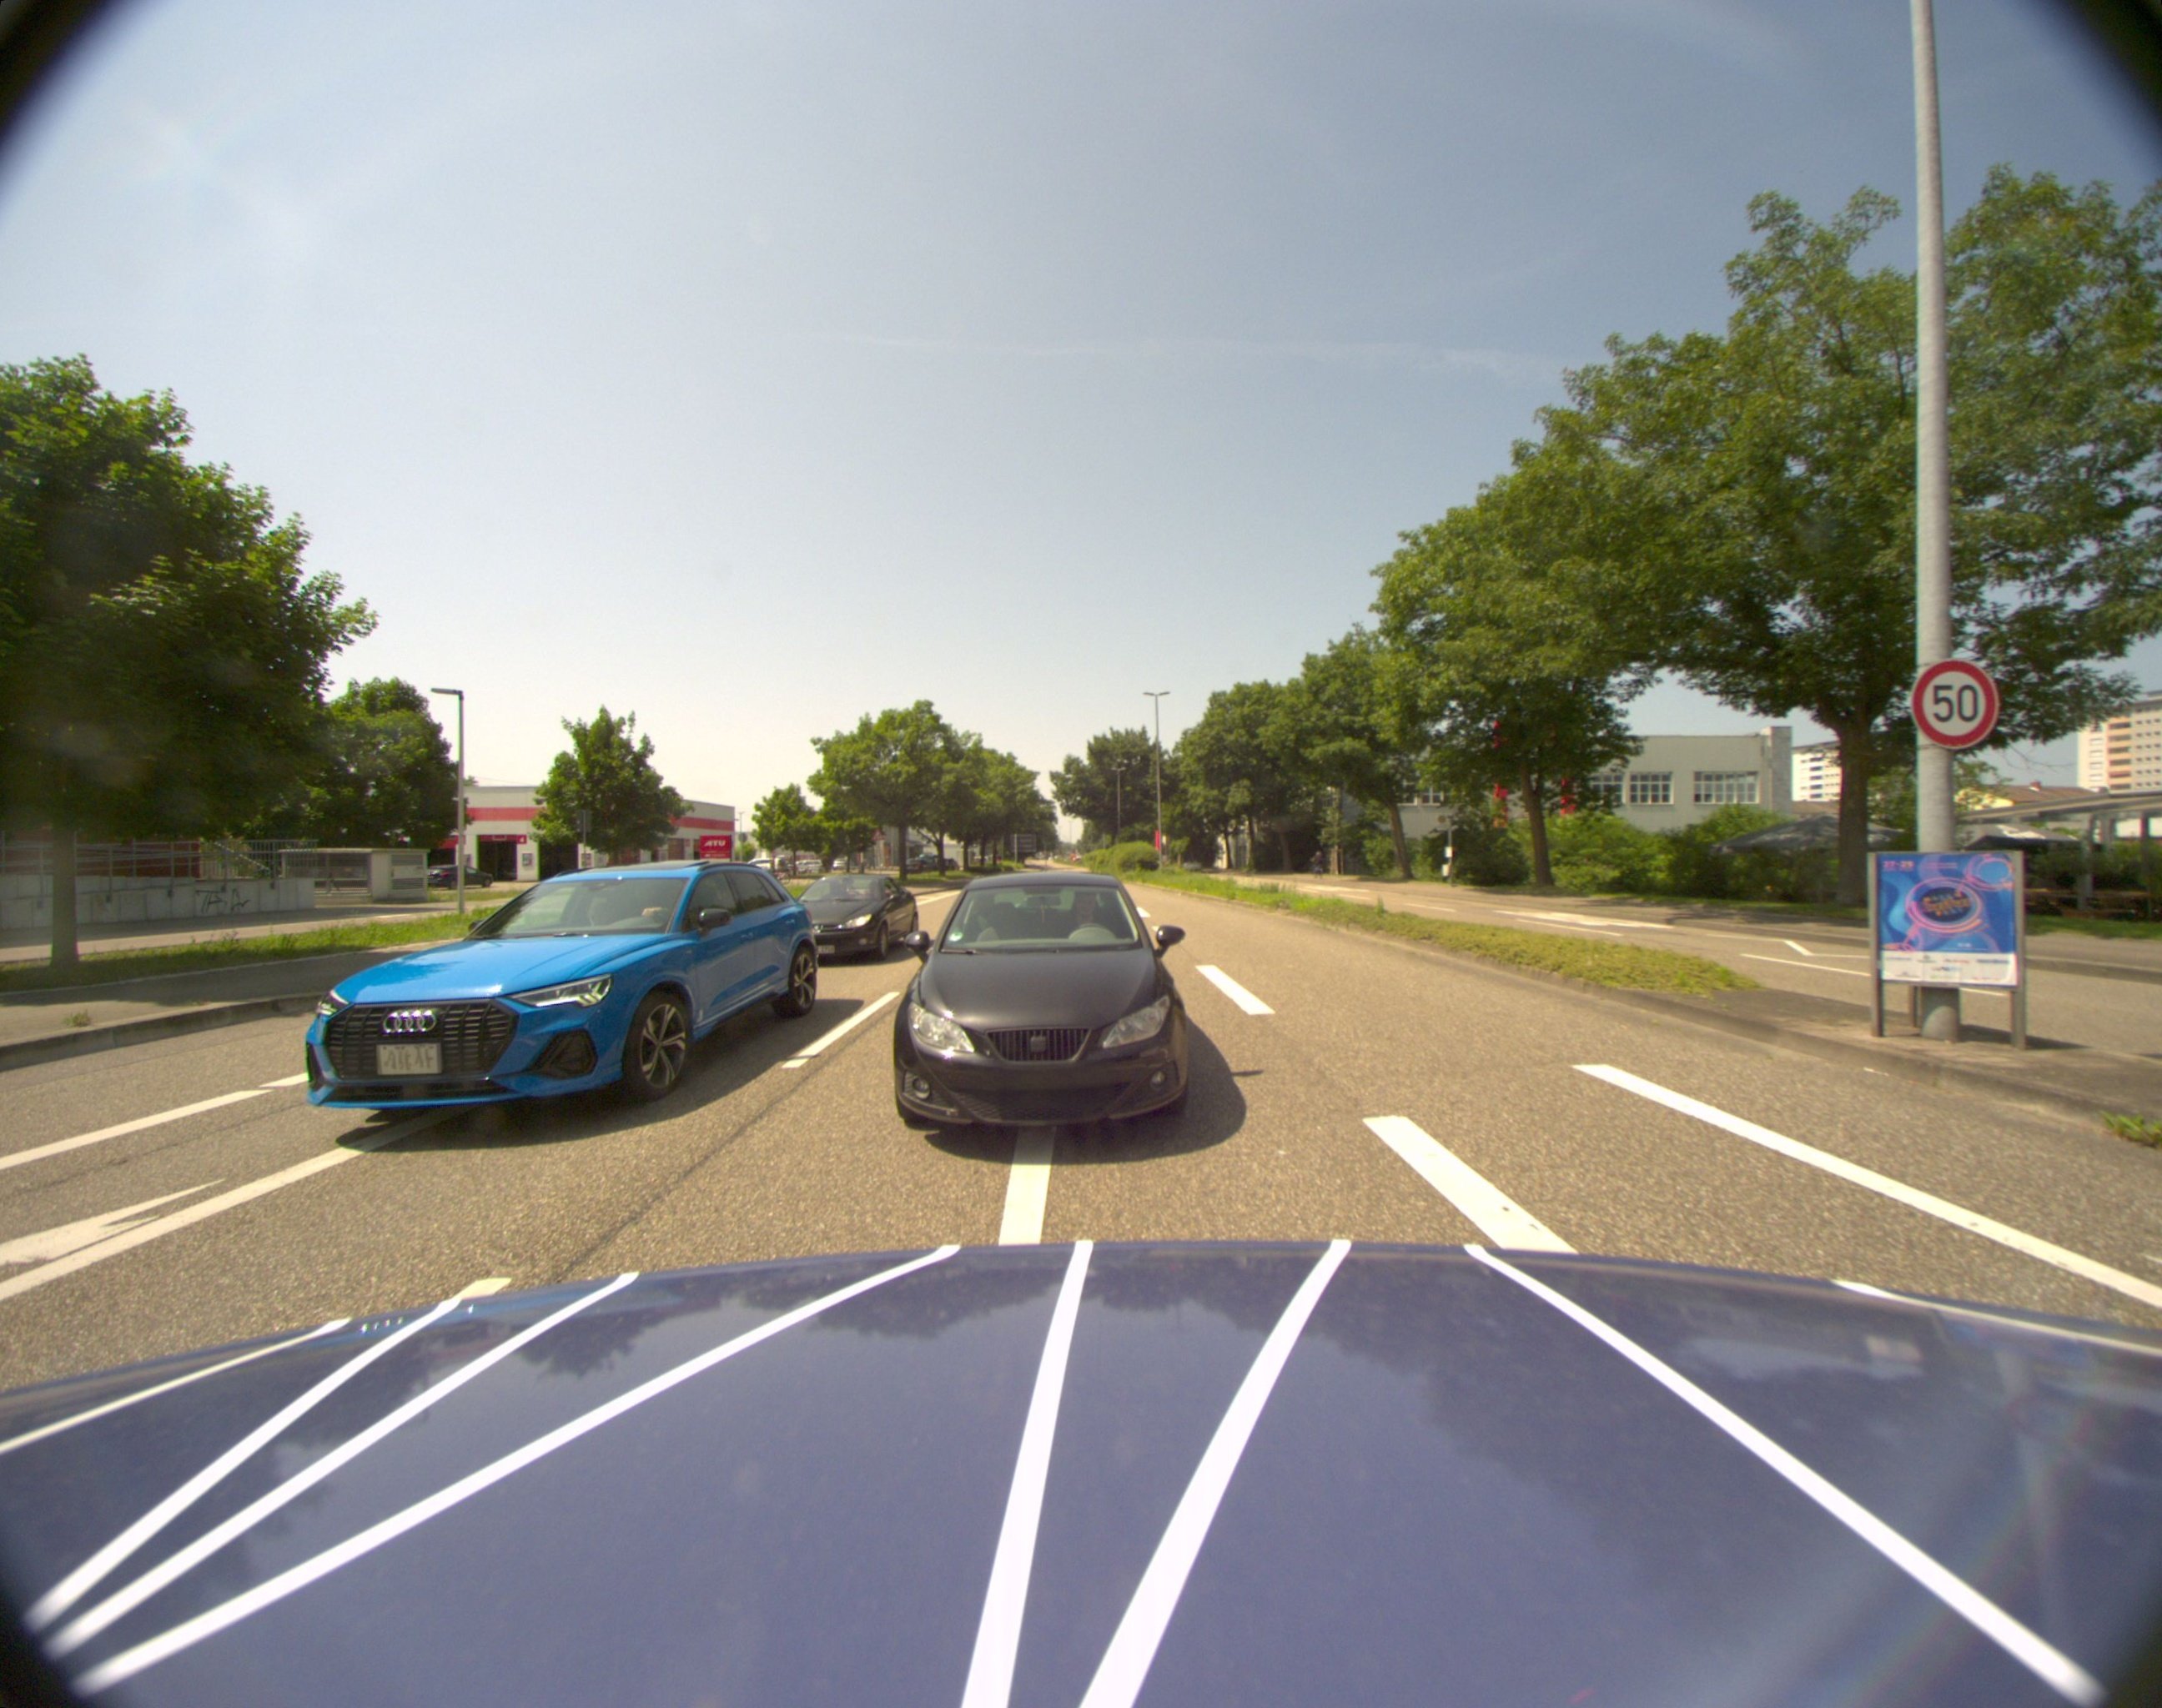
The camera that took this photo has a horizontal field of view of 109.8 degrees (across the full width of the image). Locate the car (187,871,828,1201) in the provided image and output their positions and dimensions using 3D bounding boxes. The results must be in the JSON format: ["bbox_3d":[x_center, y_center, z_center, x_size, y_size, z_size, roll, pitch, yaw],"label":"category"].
[{"bbox_3d":[-3.723,0.999,6.169,1.842,1.586,4.399,-1,0,0],"label":"car"}]

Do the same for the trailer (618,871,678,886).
[{"bbox_3d":[-23.950,1.353,42.035,2.467,0.757,1.449,-1,0,1],"label":"trailer"}]

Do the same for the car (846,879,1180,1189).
[{"bbox_3d":[-0.355,0.960,5.774,1.642,1.395,4.000,0,0,-1],"label":"car"}]

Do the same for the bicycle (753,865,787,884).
[{"bbox_3d":[-18.221,1.190,44.525,1.785,1.117,0.514,0,1,-7],"label":"bicycle"}]

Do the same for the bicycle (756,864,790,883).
[{"bbox_3d":[-18.316,1.153,45.165,1.785,1.117,0.514,0,1,-7],"label":"bicycle"}]

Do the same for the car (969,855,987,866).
[{"bbox_3d":[-13.377,0.823,98.645,1.719,1.458,4.000,0,0,1],"label":"car"}]

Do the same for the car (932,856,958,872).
[{"bbox_3d":[-13.382,0.973,74.908,1.719,1.511,4.000,0,0,1],"label":"car"}]

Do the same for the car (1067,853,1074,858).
[{"bbox_3d":[-3.354,0.391,238.125,1.999,1.692,4.000,0,0,0],"label":"car"}]

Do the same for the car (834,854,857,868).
[{"bbox_3d":[-27.482,0.754,88.767,1.759,1.586,3.997,0,0,-7],"label":"car"}]

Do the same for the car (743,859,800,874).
[{"bbox_3d":[-25.641,1.009,63.048,3.998,1.201,1.747,0,0,-3],"label":"car"}]

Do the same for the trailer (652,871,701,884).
[{"bbox_3d":[-24.178,1.404,45.471,2.137,0.757,1.394,-1,0,1],"label":"trailer"}]

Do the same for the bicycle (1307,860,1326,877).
[{"bbox_3d":[15.133,0.940,48.942,0.656,1.045,1.884,-1,0,0],"label":"bicycle"}]

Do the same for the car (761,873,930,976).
[{"bbox_3d":[-3.855,1.088,13.138,1.642,1.336,4.000,-3,0,0],"label":"car"}]

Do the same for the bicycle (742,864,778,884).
[{"bbox_3d":[-18.492,1.169,43.779,1.785,1.117,0.514,0,1,-7],"label":"bicycle"}]

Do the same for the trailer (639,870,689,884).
[{"bbox_3d":[-24.074,1.329,43.914,2.137,0.757,1.267,-1,0,1],"label":"trailer"}]

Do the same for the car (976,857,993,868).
[{"bbox_3d":[-13.351,1.129,105.410,1.719,1.458,4.000,0,0,1],"label":"car"}]

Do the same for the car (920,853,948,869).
[{"bbox_3d":[-13.473,0.629,69.734,1.719,1.458,4.000,0,0,1],"label":"car"}]

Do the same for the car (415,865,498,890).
[{"bbox_3d":[-38.190,1.401,46.604,1.717,1.364,4.145,0,0,0],"label":"car"}]

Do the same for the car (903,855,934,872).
[{"bbox_3d":[-13.553,0.788,63.506,1.642,1.363,4.000,0,0,1],"label":"car"}]

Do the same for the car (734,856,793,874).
[{"bbox_3d":[-25.315,0.894,60.679,3.998,1.394,1.747,0,0,-3],"label":"car"}]

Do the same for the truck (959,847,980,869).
[{"bbox_3d":[-13.606,0.482,92.809,1.904,2.552,4.000,0,0,2],"label":"truck"}]

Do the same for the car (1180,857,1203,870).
[{"bbox_3d":[11.688,1.028,80.775,1.722,1.255,4.301,2,0,0],"label":"car"}]

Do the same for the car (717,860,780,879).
[{"bbox_3d":[-25.541,1.202,58.451,3.998,1.394,1.747,0,0,-3],"label":"car"}]

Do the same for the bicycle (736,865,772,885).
[{"bbox_3d":[-18.576,1.187,43.152,1.785,1.117,0.514,0,1,-7],"label":"bicycle"}]

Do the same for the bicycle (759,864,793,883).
[{"bbox_3d":[-18.407,1.173,45.884,1.785,1.117,0.514,0,1,-7],"label":"bicycle"}]

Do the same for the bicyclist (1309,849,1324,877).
[{"bbox_3d":[15.125,0.572,48.778,0.651,1.759,0.927,-1,1,0],"label":"bicyclist"}]

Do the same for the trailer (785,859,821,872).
[{"bbox_3d":[-24.784,1.023,67.858,2.642,1.046,1.578,0,0,-2],"label":"trailer"}]

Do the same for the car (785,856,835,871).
[{"bbox_3d":[-25.079,0.873,70.399,3.998,1.293,1.689,0,0,-3],"label":"car"}]

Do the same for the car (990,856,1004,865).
[{"bbox_3d":[-13.101,1.016,119.242,1.719,1.458,4.000,0,0,1],"label":"car"}]

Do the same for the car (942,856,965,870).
[{"bbox_3d":[-13.614,0.939,81.082,1.719,1.504,4.000,0,0,1],"label":"car"}]
